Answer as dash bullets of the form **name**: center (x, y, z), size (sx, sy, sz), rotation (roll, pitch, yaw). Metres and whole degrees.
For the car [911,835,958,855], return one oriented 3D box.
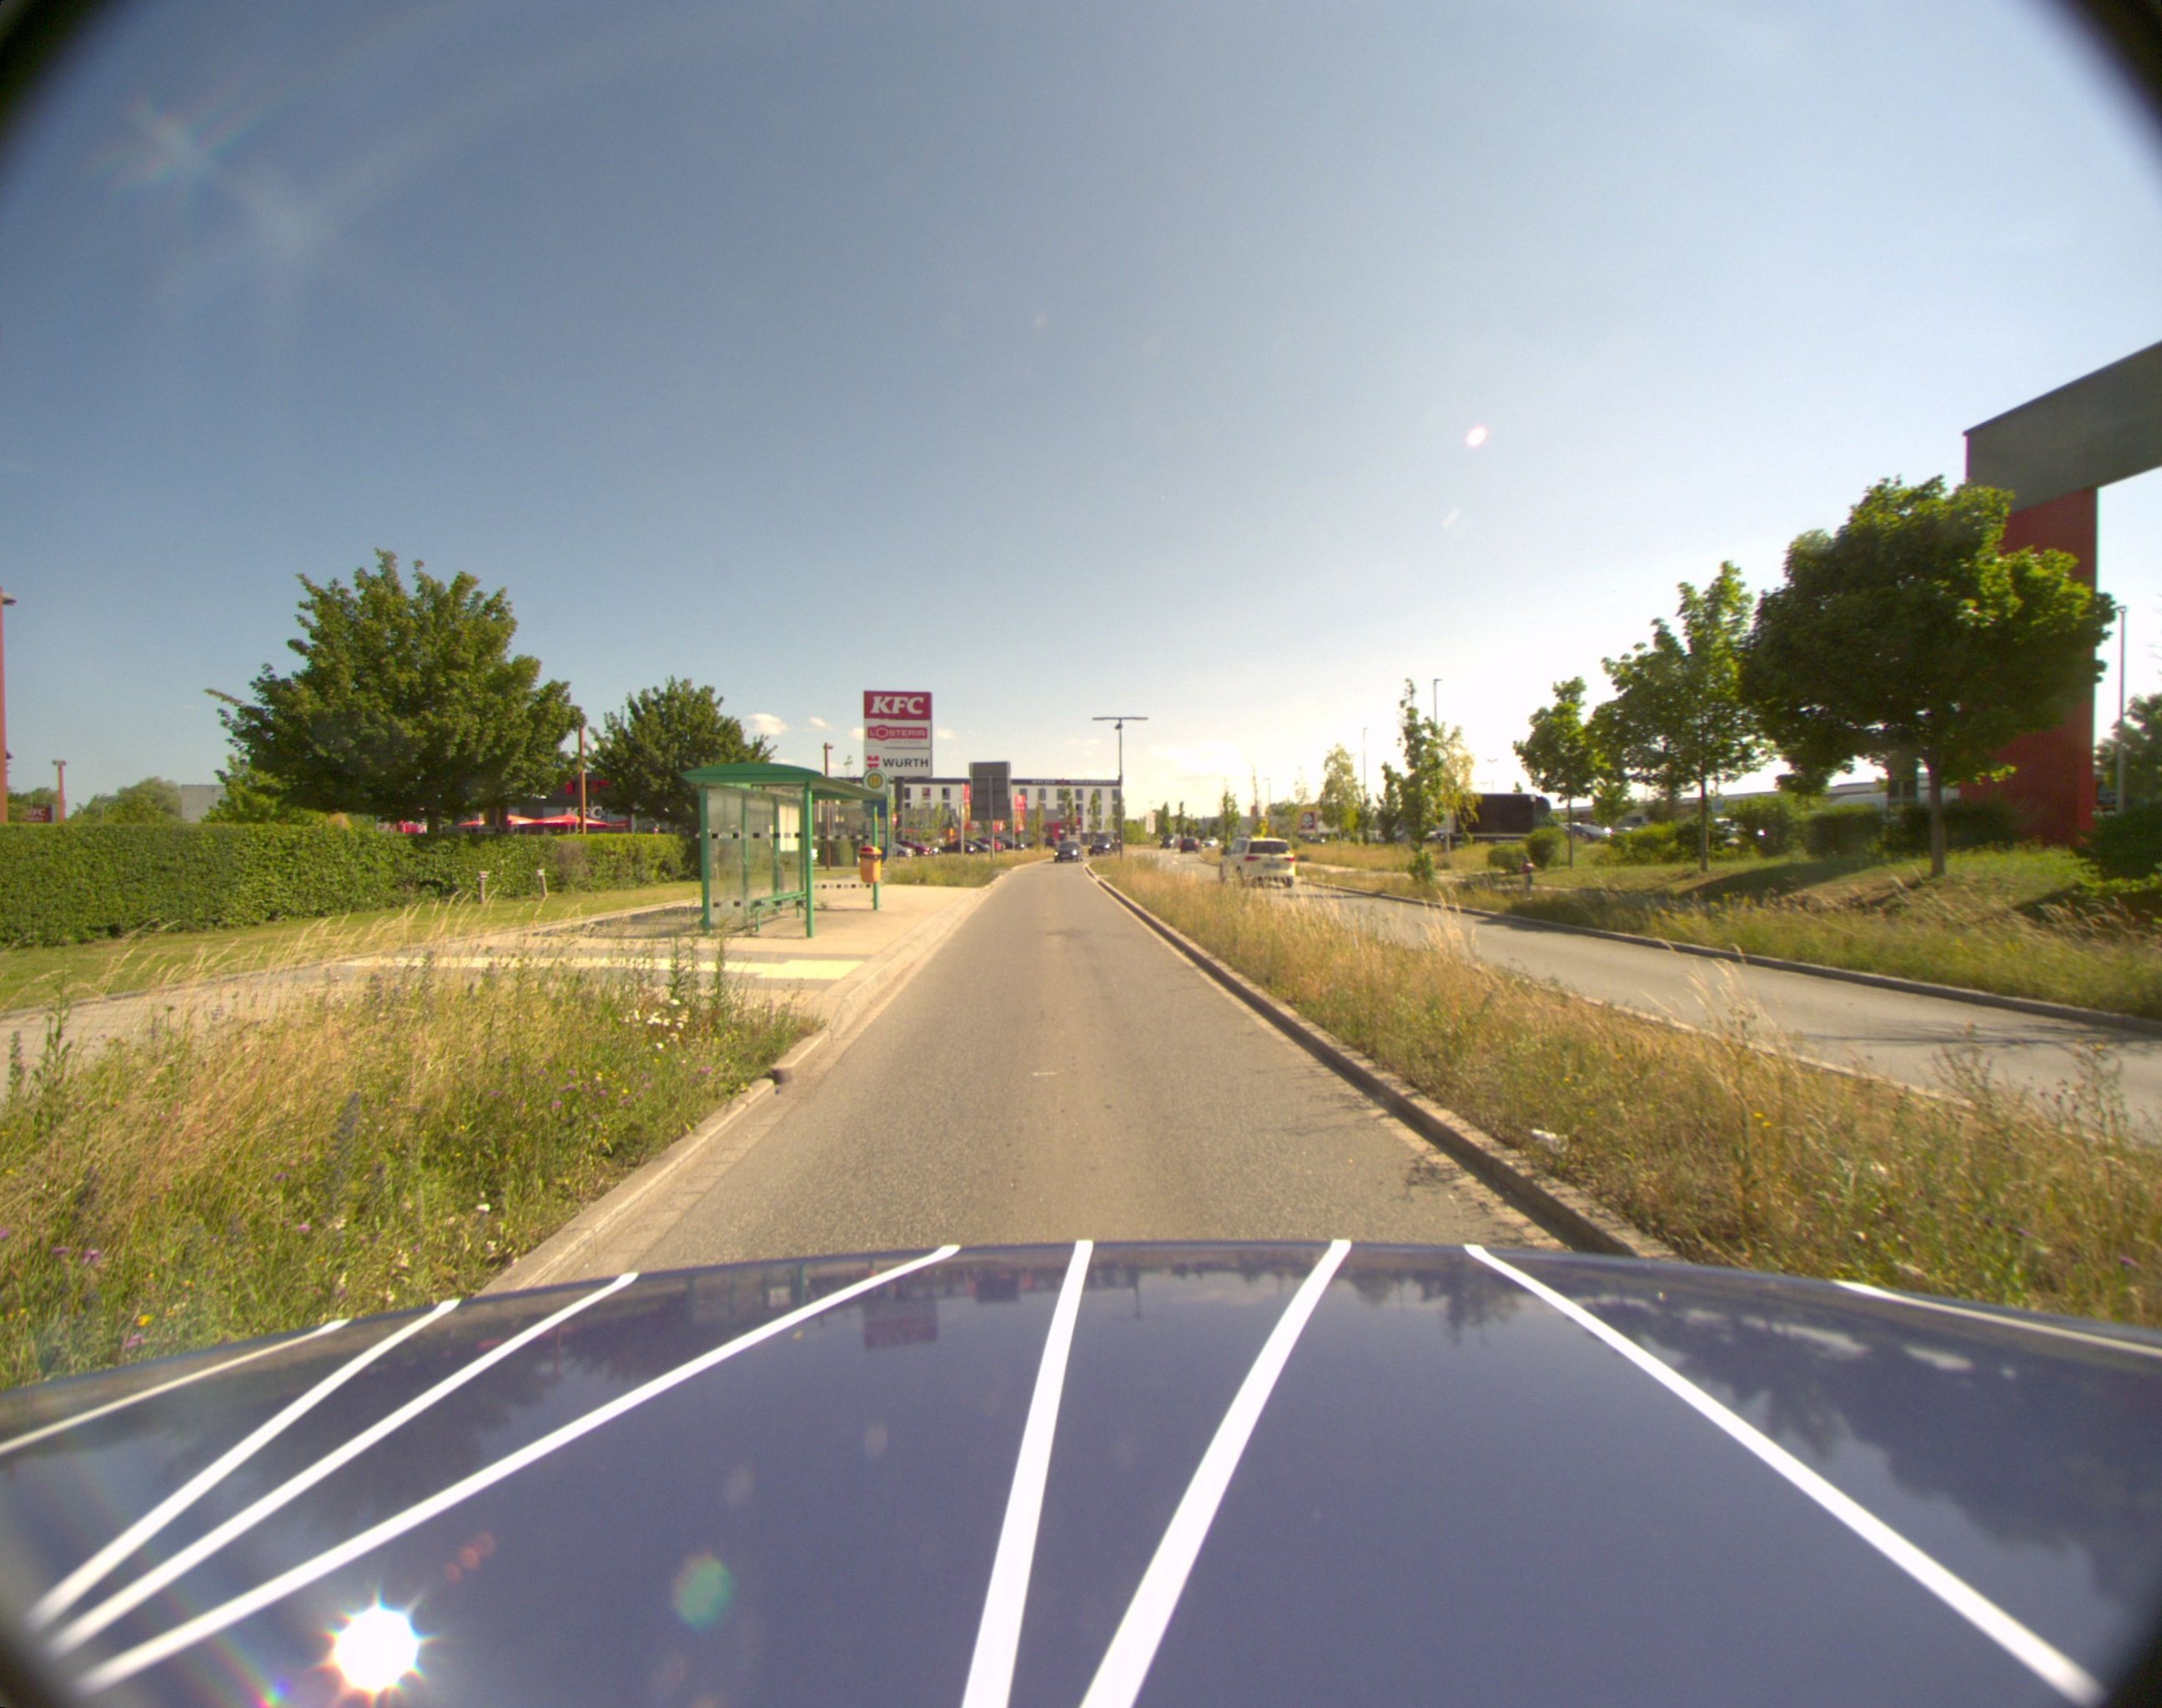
- **car**: center (-14.925, -0.953, 77.426), size (4.180, 2.002, 1.935), rotation (0, 1, 12)

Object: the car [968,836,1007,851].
- **car**: center (-11.223, -1.269, 91.427), size (4.179, 1.752, 1.826), rotation (0, 1, 15)

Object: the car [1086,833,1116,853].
- **car**: center (1.845, -0.996, 68.086), size (1.959, 1.653, 4.686), rotation (0, 1, 11)

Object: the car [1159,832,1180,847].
- **car**: center (11.872, -1.950, 101.637), size (2.076, 2.037, 4.688), rotation (0, 1, 17)

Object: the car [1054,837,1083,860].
- **car**: center (-0.832, -0.336, 51.804), size (1.862, 1.459, 4.000), rotation (0, 0, 0)

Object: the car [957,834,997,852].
- **car**: center (-12.051, -1.272, 88.460), size (4.180, 2.002, 1.934), rotation (0, 1, 10)

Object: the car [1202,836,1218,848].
- **car**: center (18.308, -1.687, 107.590), size (1.996, 1.674, 4.004), rotation (-1, 1, 14)

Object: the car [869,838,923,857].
- **car**: center (-16.939, -0.622, 69.776), size (4.438, 1.643, 1.933), rotation (0, 1, 5)

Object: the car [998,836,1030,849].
- **car**: center (-8.594, -1.435, 97.772), size (3.818, 1.610, 1.758), rotation (0, 1, 11)

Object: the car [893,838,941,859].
- **car**: center (-16.044, -0.528, 74.423), size (4.179, 2.002, 1.935), rotation (0, 1, 13)

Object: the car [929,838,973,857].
- **car**: center (-13.876, -0.695, 80.937), size (4.180, 2.002, 1.935), rotation (0, 1, 12)

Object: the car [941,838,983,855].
- **car**: center (-13.104, -0.806, 83.582), size (4.178, 1.847, 1.805), rotation (0, 1, 16)

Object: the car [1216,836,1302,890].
- **car**: center (6.010, 0.248, 26.183), size (1.862, 1.705, 4.155), rotation (0, 1, -2)

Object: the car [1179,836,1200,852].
- **car**: center (10.878, -1.035, 76.611), size (1.997, 1.609, 4.001), rotation (0, 1, 7)
